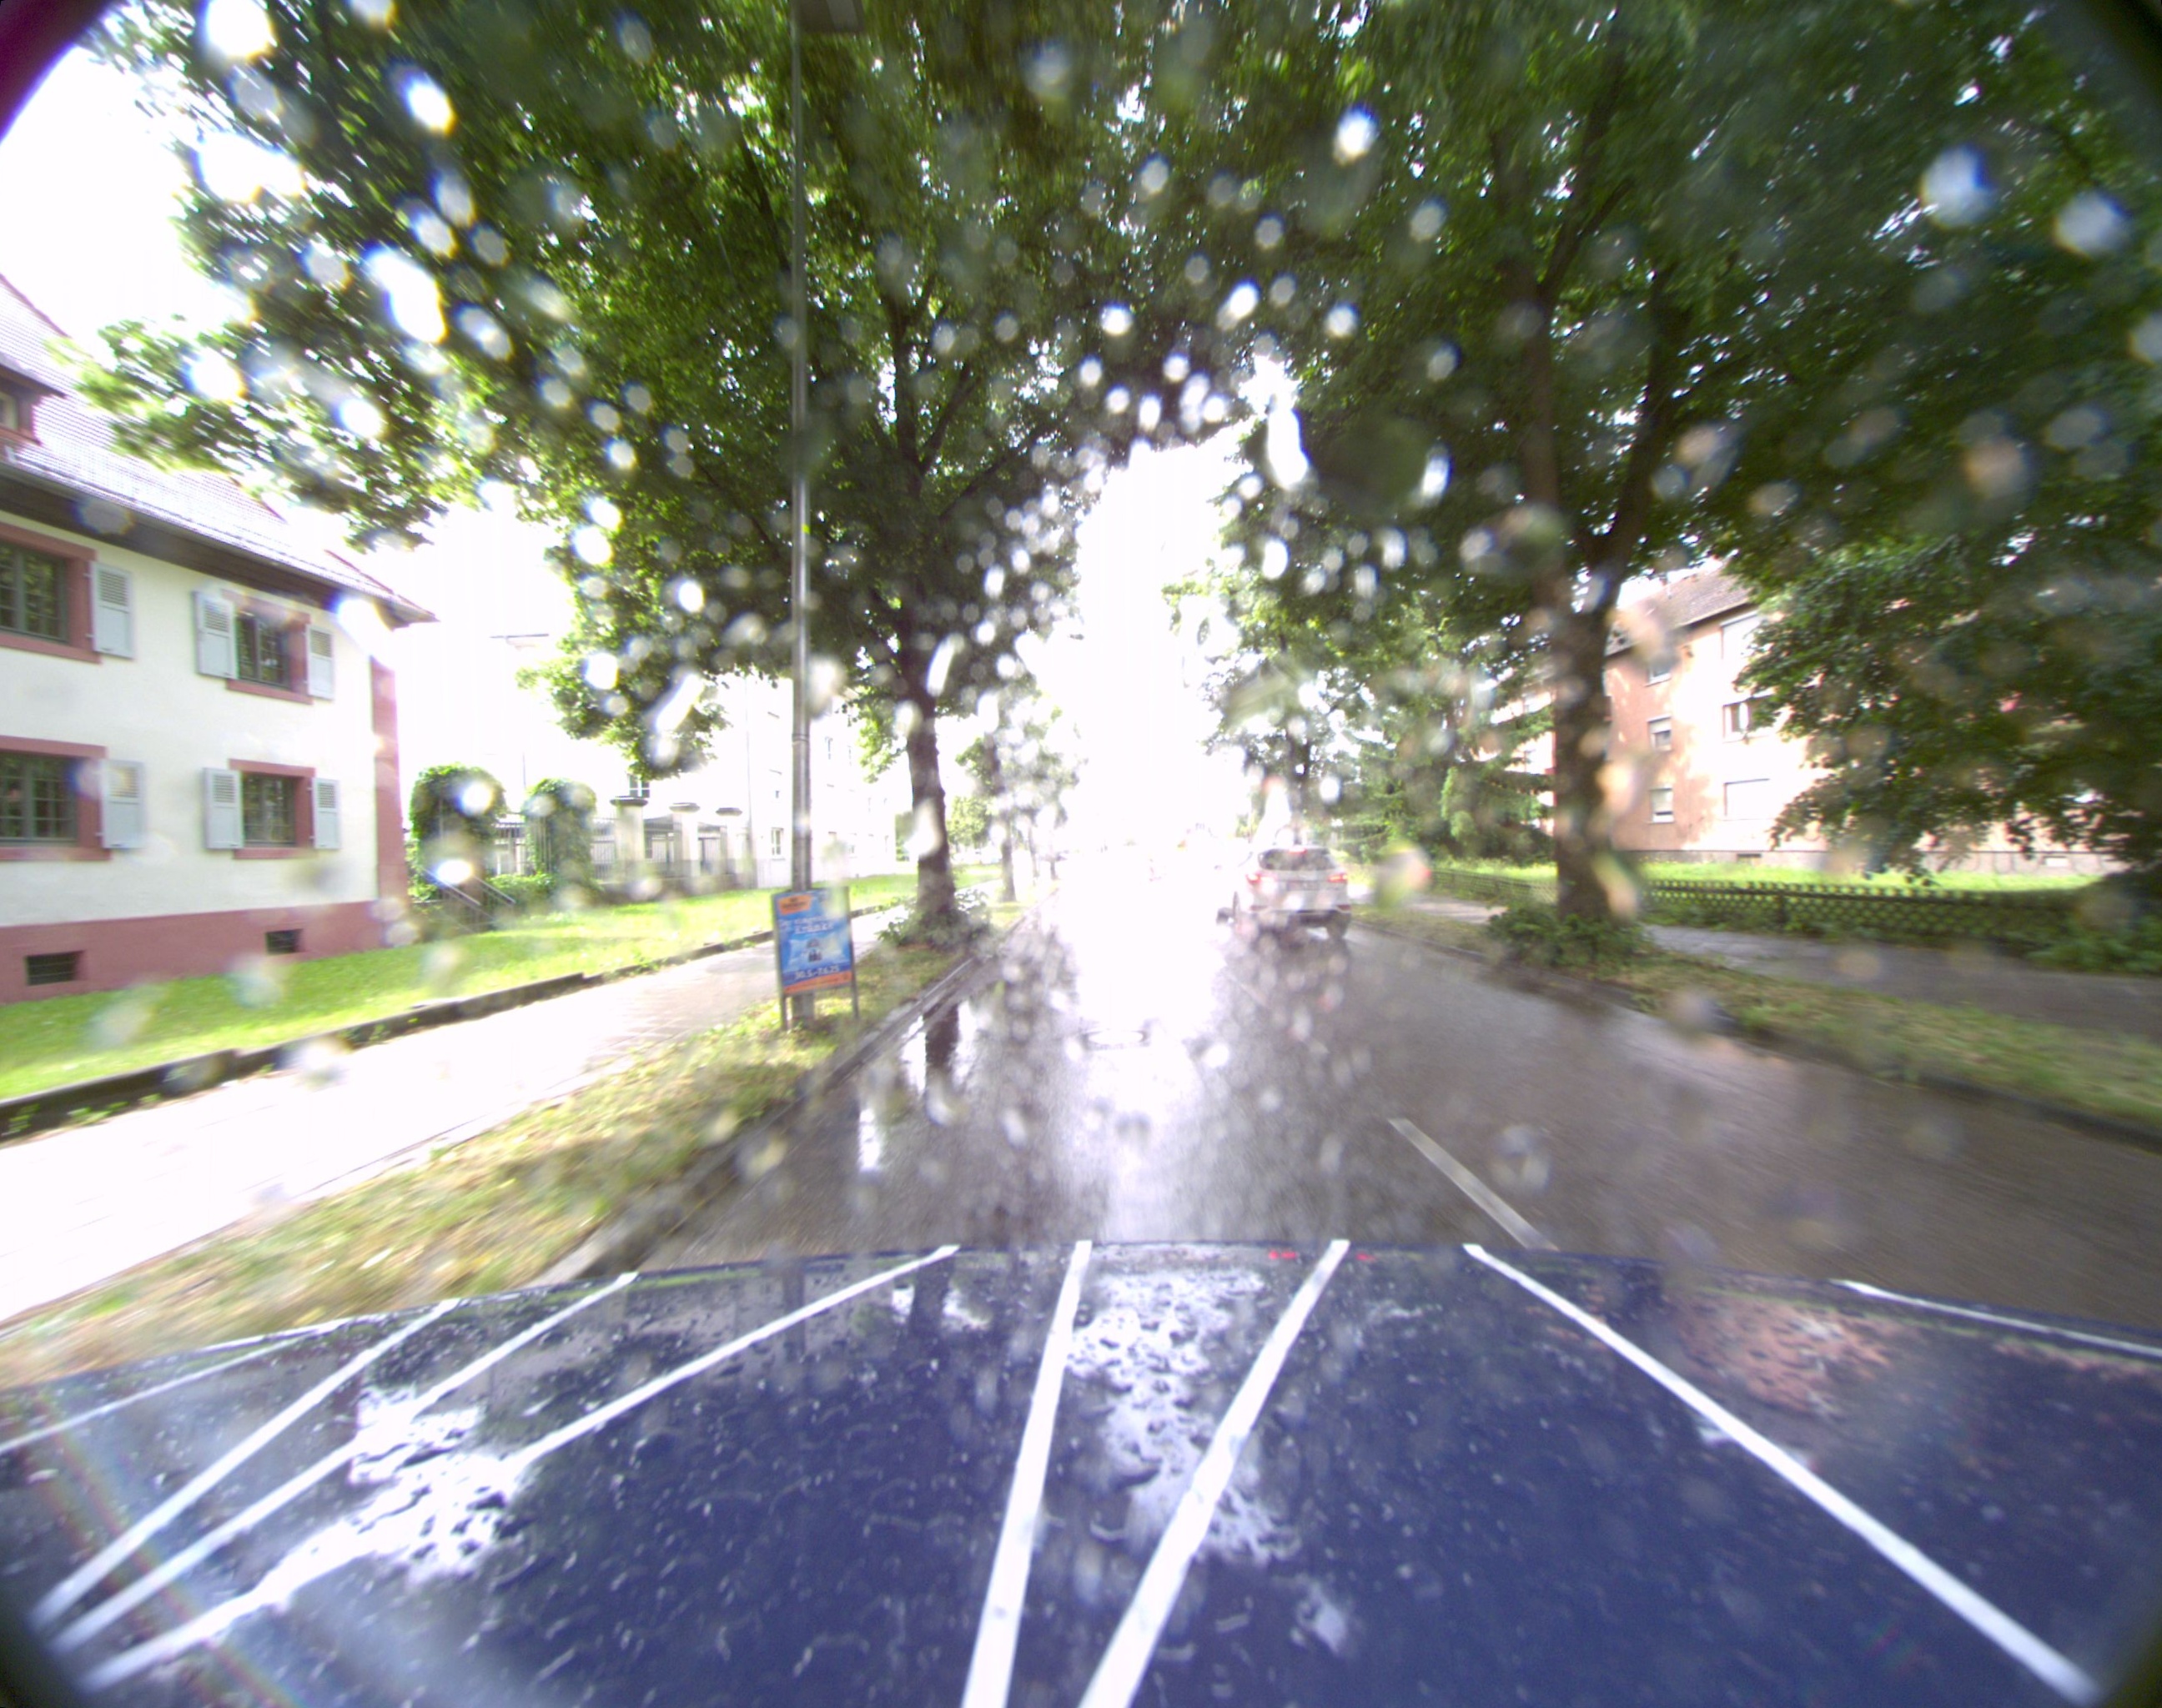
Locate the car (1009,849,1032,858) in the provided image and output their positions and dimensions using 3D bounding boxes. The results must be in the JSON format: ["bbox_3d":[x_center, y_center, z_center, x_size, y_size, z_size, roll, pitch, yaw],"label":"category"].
[{"bbox_3d":[-11.988,-0.135,151.210,4.124,1.521,1.665,-2,0,-30],"label":"car"}]

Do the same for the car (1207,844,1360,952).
[{"bbox_3d":[3.612,0.693,14.382,1.891,1.704,4.229,-1,1,2],"label":"car"}]

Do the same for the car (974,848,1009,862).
[{"bbox_3d":[-11.692,0.147,99.193,4.218,1.704,1.896,-1,1,30],"label":"car"}]

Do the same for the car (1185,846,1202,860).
[{"bbox_3d":[12.781,-0.088,86.482,1.683,1.499,3.794,-2,1,4],"label":"car"}]
